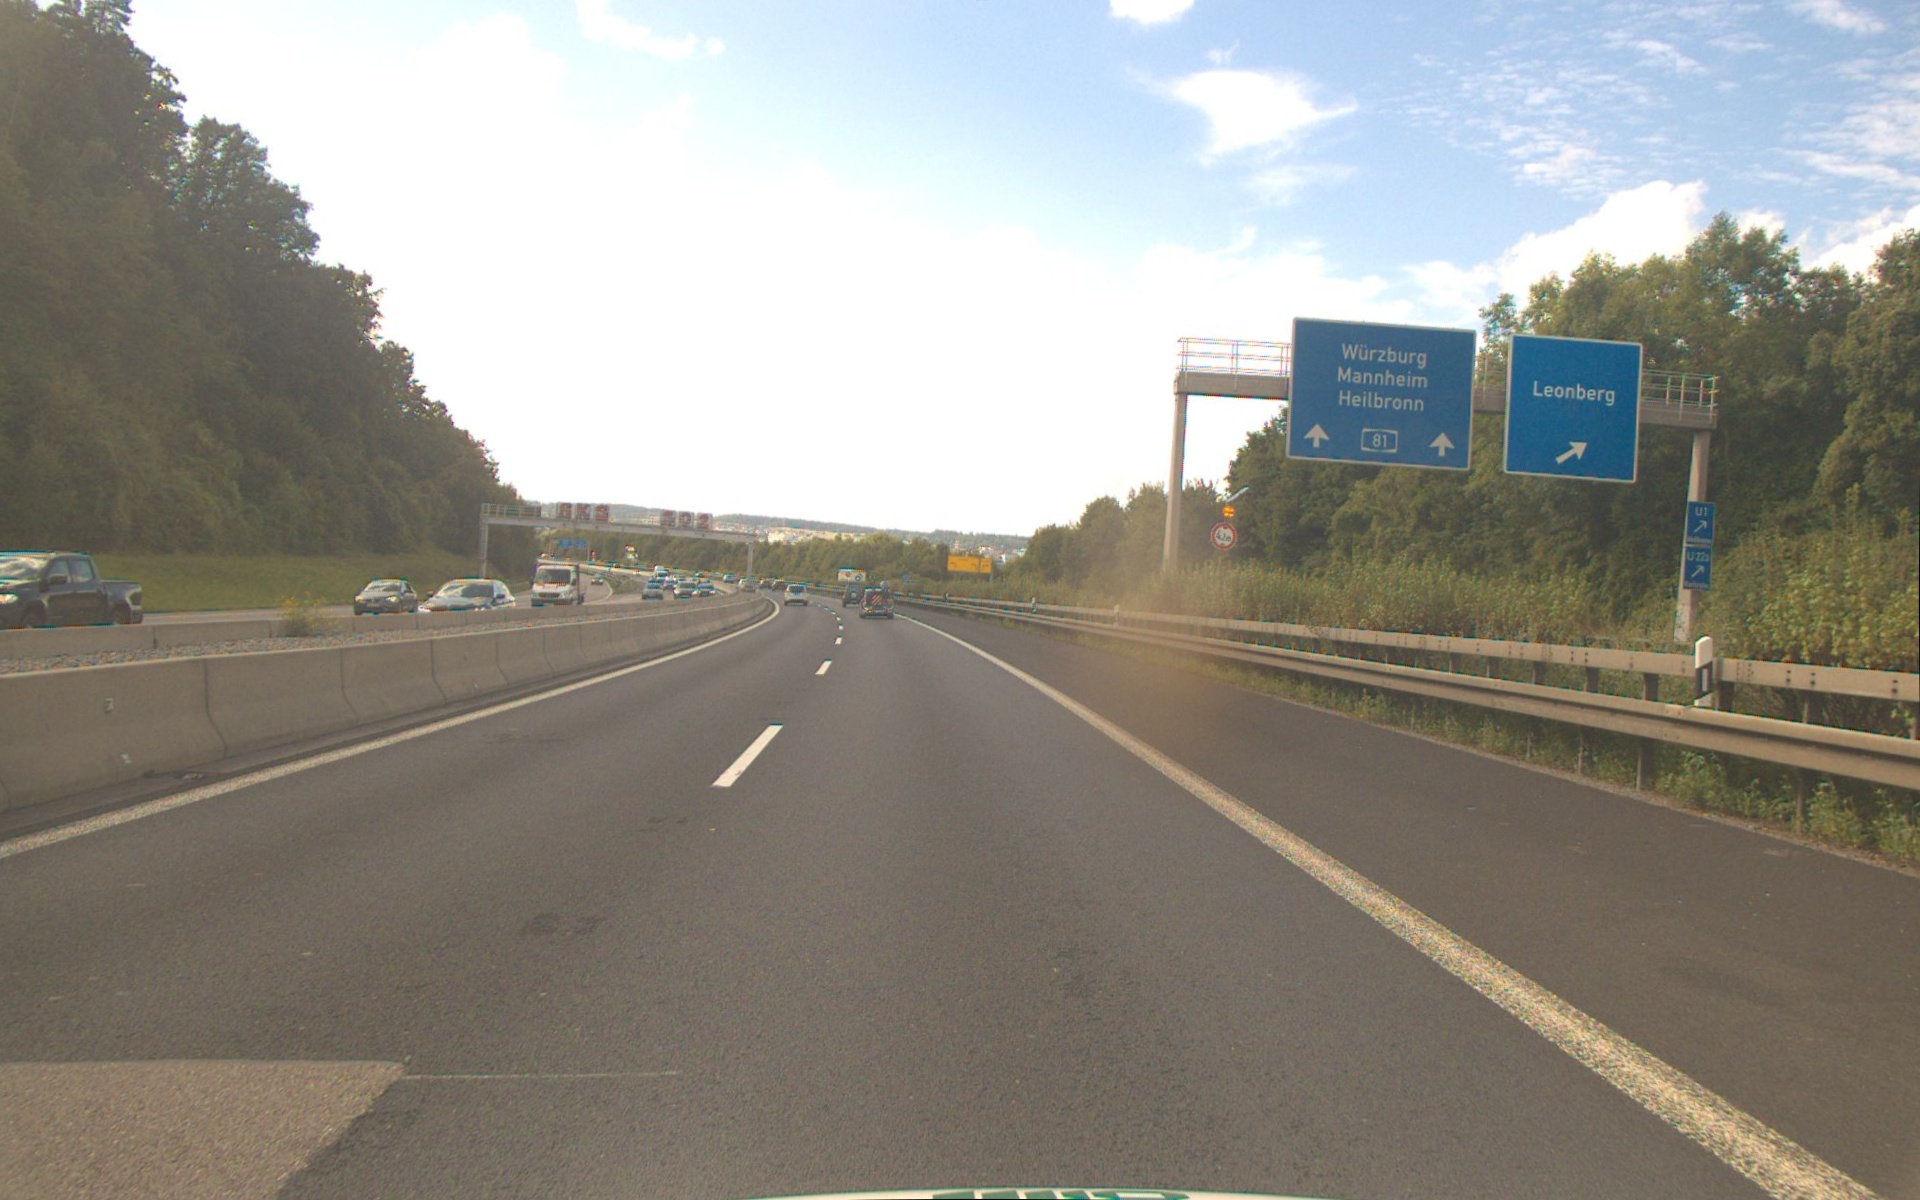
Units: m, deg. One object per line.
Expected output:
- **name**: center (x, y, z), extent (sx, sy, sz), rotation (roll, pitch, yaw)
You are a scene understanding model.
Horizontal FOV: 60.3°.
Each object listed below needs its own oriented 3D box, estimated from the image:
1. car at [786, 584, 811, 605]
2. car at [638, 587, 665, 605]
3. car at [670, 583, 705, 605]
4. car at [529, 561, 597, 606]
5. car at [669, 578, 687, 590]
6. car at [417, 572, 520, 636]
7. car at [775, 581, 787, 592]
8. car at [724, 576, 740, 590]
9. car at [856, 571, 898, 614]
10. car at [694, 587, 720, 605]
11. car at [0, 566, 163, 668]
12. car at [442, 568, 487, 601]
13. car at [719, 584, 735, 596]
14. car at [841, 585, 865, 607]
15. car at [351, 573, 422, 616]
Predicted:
- **car**: center (-13.443, -0.450, 137.756), extent (1.956, 1.713, 3.993), rotation (1, 0, -7)
- **car**: center (-26.711, -0.373, 143.384), extent (1.878, 1.536, 3.995), rotation (1, 0, -5)
- **car**: center (-20.641, -0.469, 125.372), extent (1.943, 1.536, 5.958), rotation (1, 0, -3)
- **car**: center (-20.357, -0.835, 85.086), extent (2.158, 2.167, 8.068), rotation (1, 0, -5)
- **car**: center (-37.593, -2.192, 220.648), extent (1.954, 1.566, 4.735), rotation (1, 1, -5)
- **car**: center (-13.303, 0.092, 45.028), extent (1.766, 1.634, 4.478), rotation (1, 0, -5)
- **car**: center (-27.093, -2.004, 249.822), extent (1.575, 1.585, 3.991), rotation (1, 0, -10)
- **car**: center (-29.799, -2.238, 215.993), extent (1.839, 1.727, 4.310), rotation (1, 0, -5)
- **car**: center (-4.519, -0.433, 89.551), extent (1.991, 2.189, 3.996), rotation (1, 1, -6)
- **car**: center (-22.937, -0.348, 150.075), extent (1.954, 1.655, 4.774), rotation (1, 0, -4)
- **car**: center (-16.218, 0.250, 29.345), extent (1.996, 1.643, 5.035), rotation (1, 0, -4)
- **car**: center (-31.714, -1.002, 105.983), extent (1.954, 2.070, 3.996), rotation (1, 0, -5)
- **car**: center (-28.967, -1.228, 205.777), extent (1.726, 1.486, 4.291), rotation (1, 0, -5)
- **car**: center (-8.650, -0.340, 133.538), extent (1.557, 1.624, 4.088), rotation (1, 1, -9)
- **car**: center (-23.009, -0.227, 66.492), extent (1.692, 1.668, 4.187), rotation (1, 0, -5)
